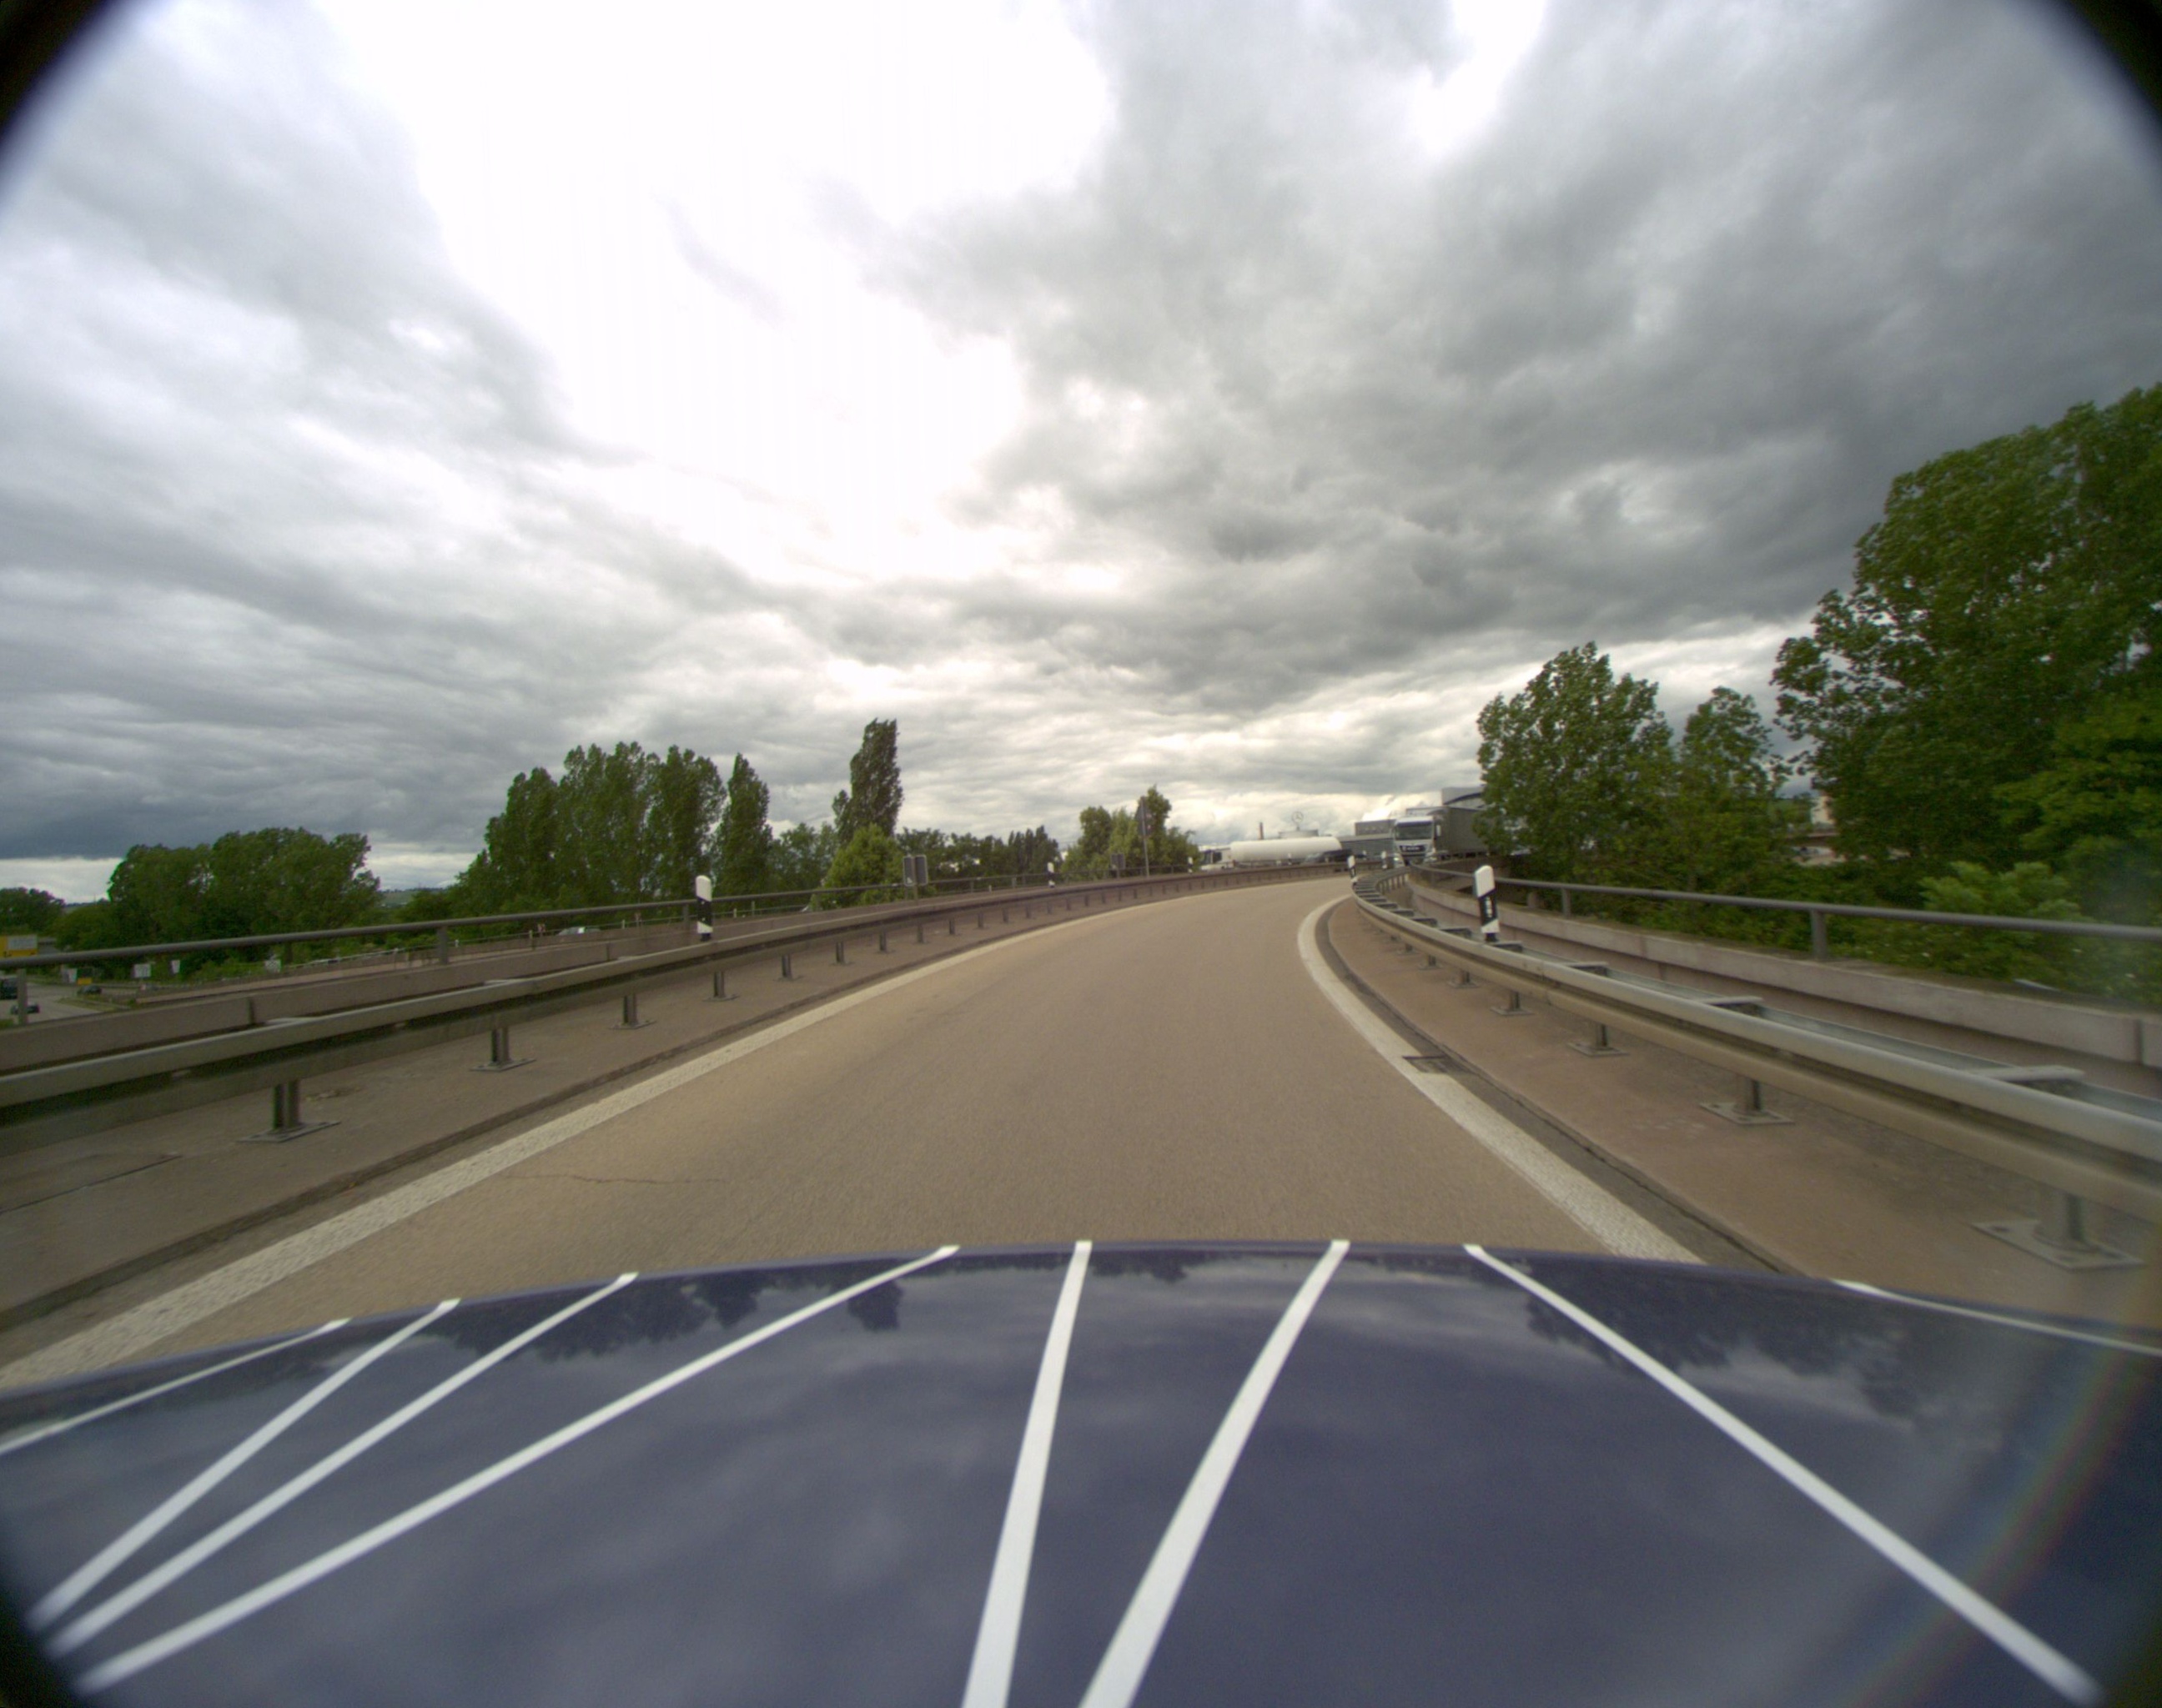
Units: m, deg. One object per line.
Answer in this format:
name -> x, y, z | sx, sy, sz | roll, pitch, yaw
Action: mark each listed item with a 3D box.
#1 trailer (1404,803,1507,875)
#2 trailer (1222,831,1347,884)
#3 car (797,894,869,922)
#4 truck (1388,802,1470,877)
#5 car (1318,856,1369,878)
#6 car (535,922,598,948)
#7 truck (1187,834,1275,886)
trailer -> 25.750, -1.073, 51.618 | 2.742, 4.212, 13.473 | -3, 0, 41
trailer -> 16.405, 0.212, 60.749 | 11.022, 3.628, 2.743 | -3, 0, -32
car -> -15.897, 3.438, 48.800 | 3.929, 1.400, 1.793 | -6, -3, 10
truck -> 21.478, -0.889, 46.730 | 2.729, 4.203, 6.213 | -3, 0, 41
car -> 19.710, 0.959, 56.986 | 3.808, 1.401, 1.786 | -3, 0, -38
car -> -36.243, 5.705, 53.533 | 3.992, 1.470, 1.740 | -7, -3, 22
truck -> 11.432, 0.420, 57.734 | 6.210, 3.624, 2.731 | -3, 0, -33
